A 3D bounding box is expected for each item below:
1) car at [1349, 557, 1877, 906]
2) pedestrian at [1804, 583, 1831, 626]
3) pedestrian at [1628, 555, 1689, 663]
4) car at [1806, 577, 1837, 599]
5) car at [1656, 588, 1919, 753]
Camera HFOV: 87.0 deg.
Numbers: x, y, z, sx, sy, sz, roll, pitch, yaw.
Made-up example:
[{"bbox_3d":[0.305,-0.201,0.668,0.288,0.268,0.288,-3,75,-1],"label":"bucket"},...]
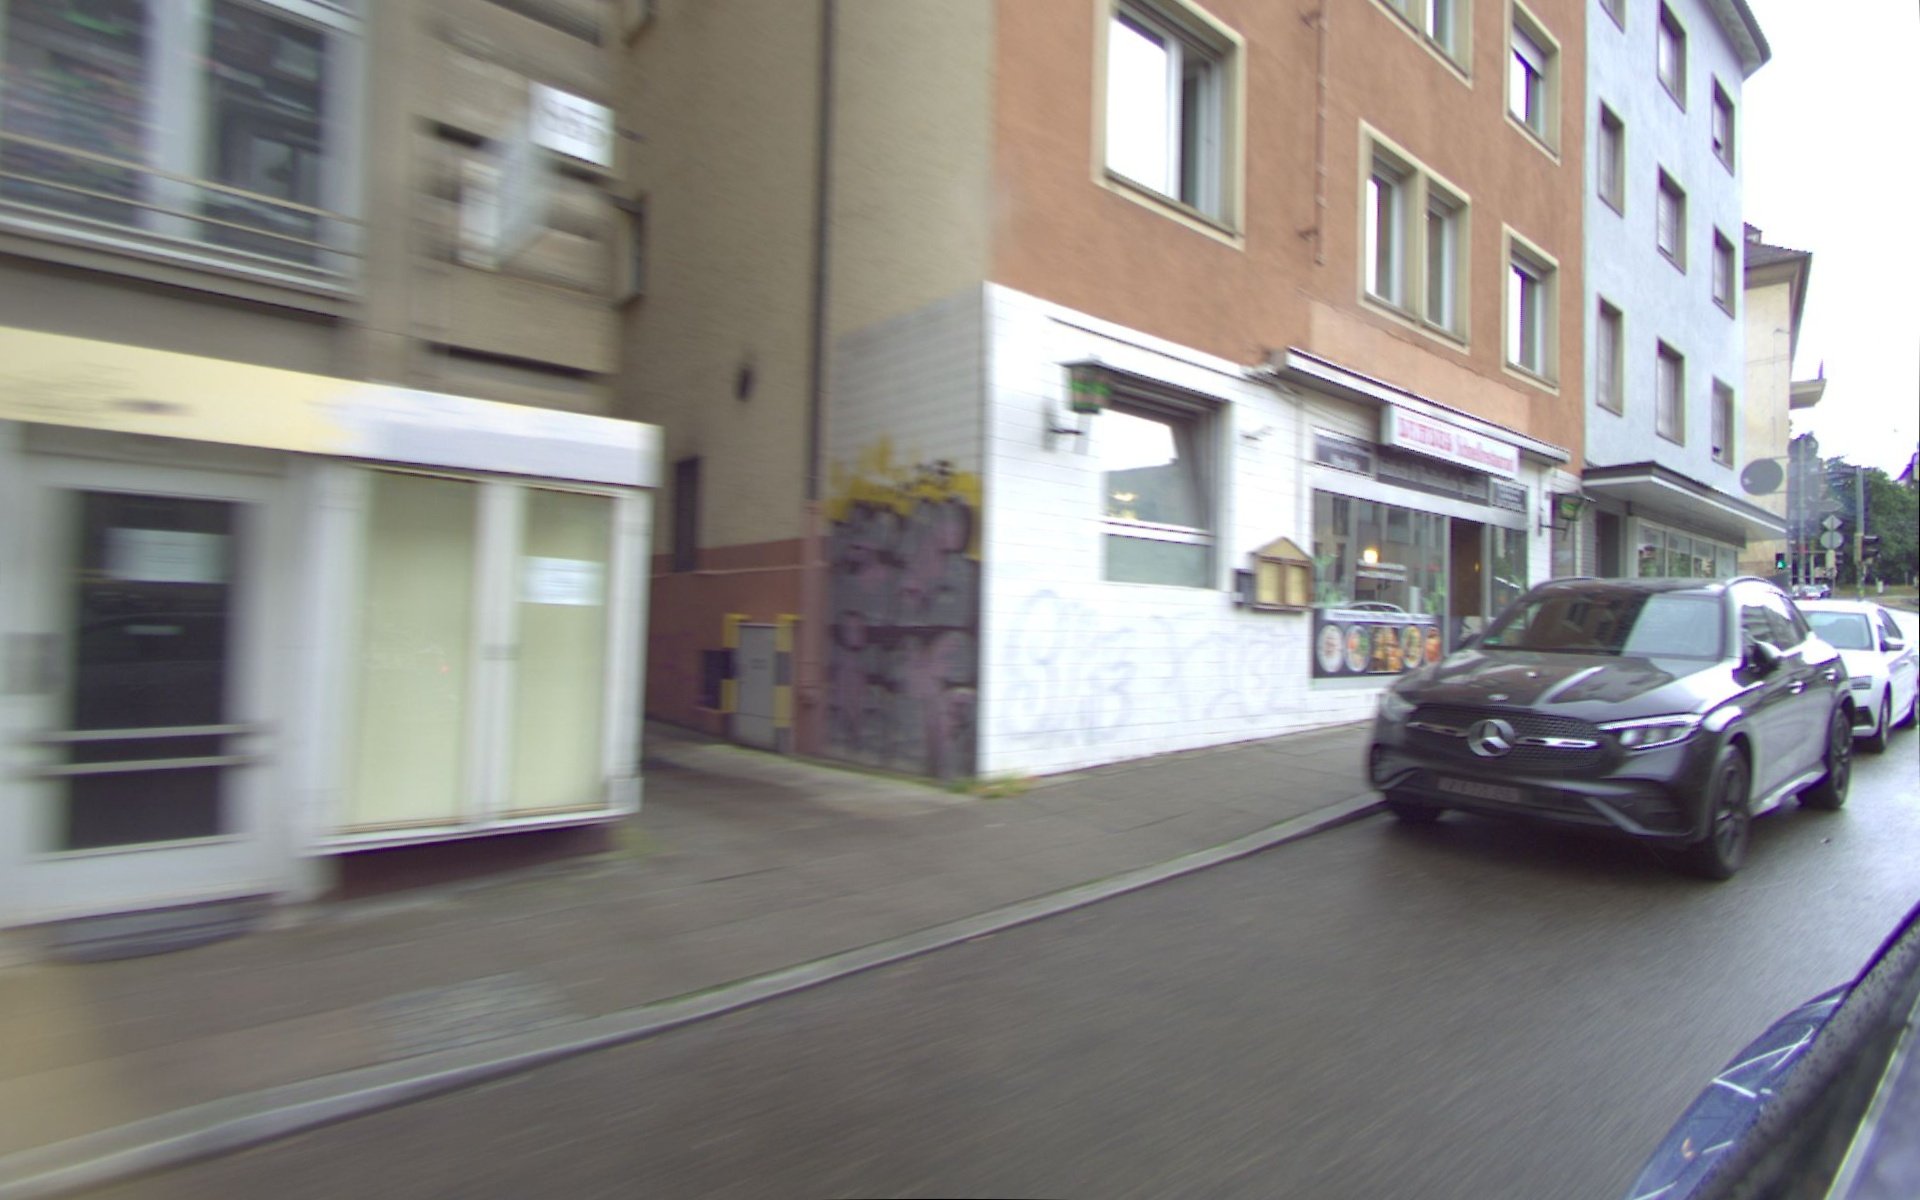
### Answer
[{"bbox_3d":[4.690,0.558,6.958,4.507,1.653,1.848,-2,1,-41],"label":"car"},{"bbox_3d":[36.789,0.191,43.418,0.745,1.785,0.807,4,4,38],"label":"pedestrian"},{"bbox_3d":[10.695,0.130,15.487,0.687,1.592,0.752,2,0,38],"label":"pedestrian"},{"bbox_3d":[72.970,-0.997,85.761,1.717,1.707,3.815,-3,0,37],"label":"car"},{"bbox_3d":[9.559,0.629,11.352,4.506,1.474,1.805,0,1,-41],"label":"car"}]
